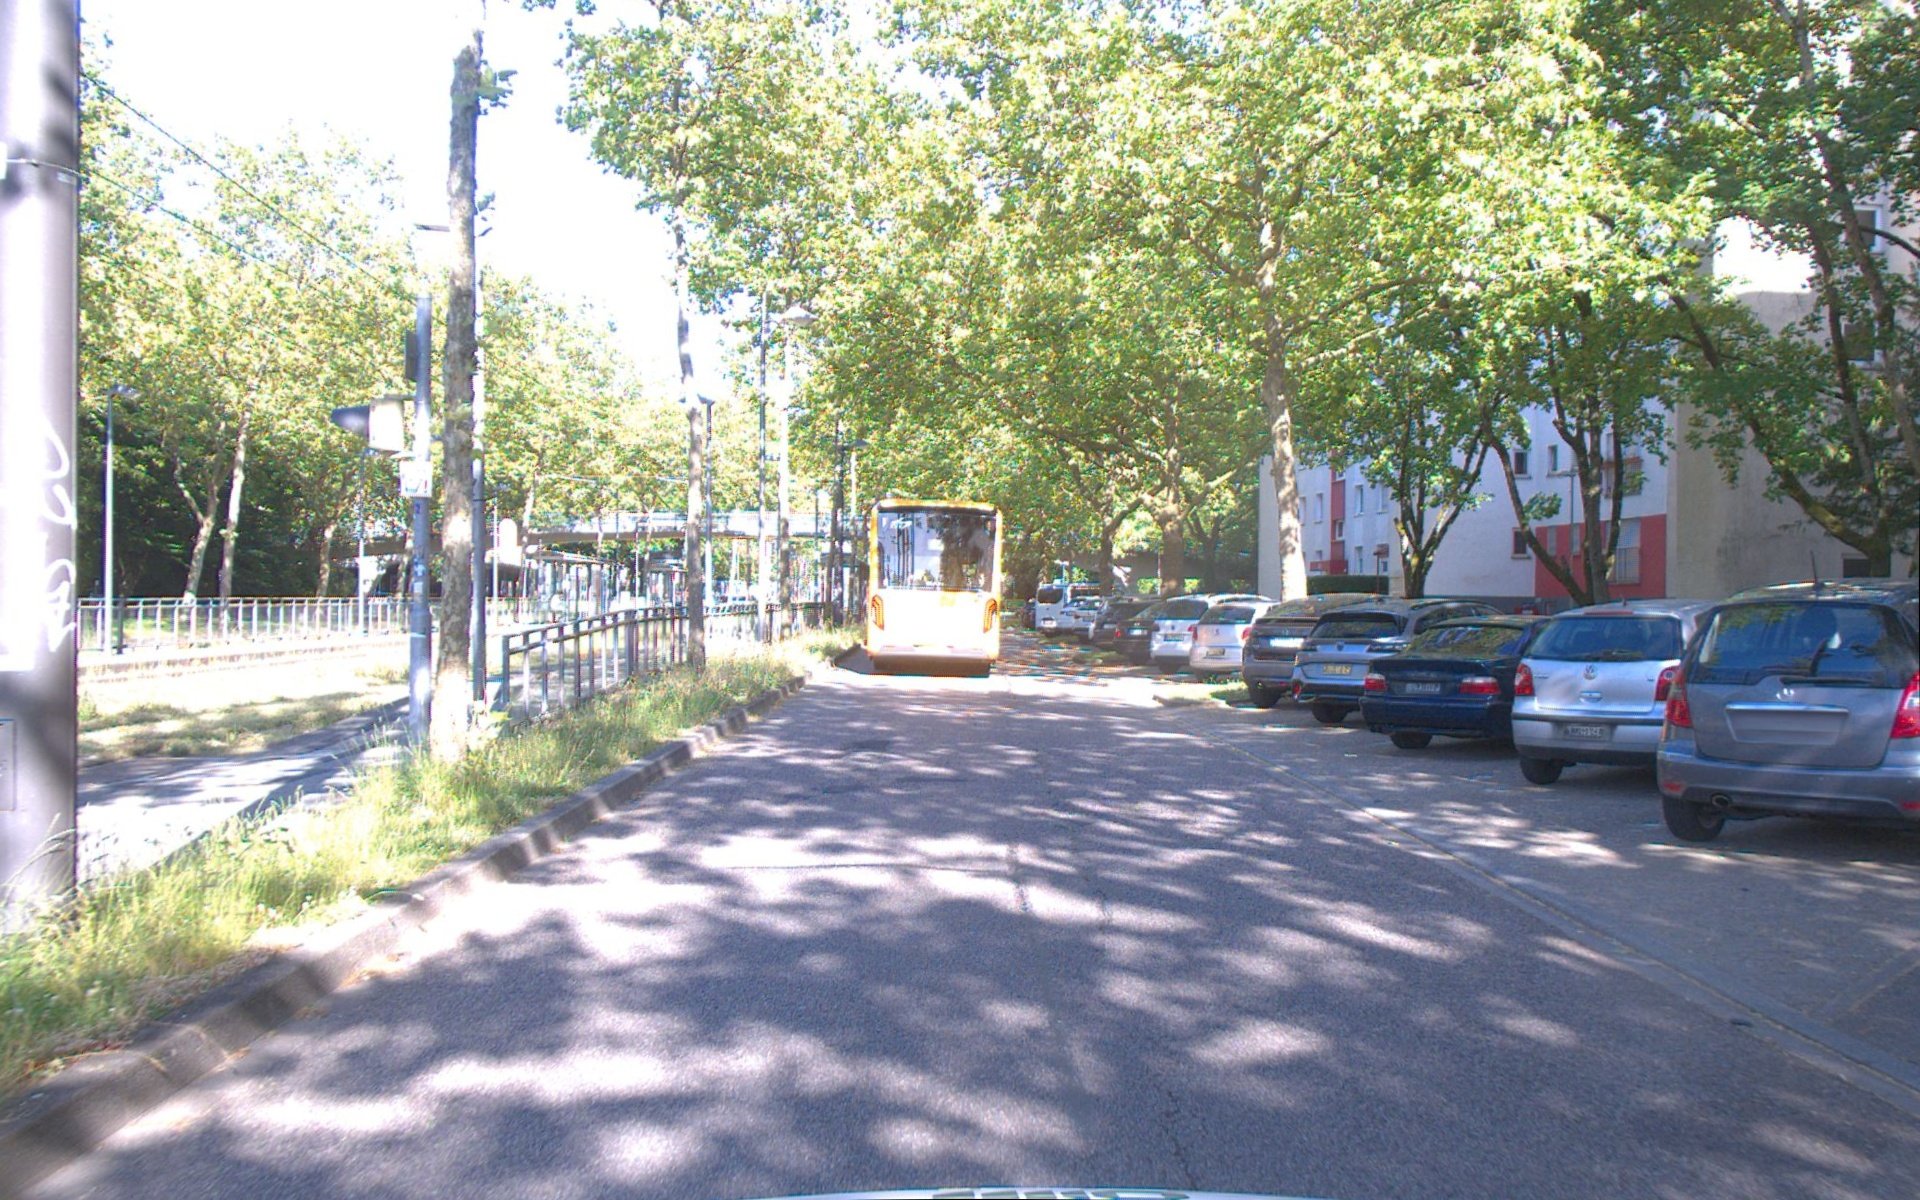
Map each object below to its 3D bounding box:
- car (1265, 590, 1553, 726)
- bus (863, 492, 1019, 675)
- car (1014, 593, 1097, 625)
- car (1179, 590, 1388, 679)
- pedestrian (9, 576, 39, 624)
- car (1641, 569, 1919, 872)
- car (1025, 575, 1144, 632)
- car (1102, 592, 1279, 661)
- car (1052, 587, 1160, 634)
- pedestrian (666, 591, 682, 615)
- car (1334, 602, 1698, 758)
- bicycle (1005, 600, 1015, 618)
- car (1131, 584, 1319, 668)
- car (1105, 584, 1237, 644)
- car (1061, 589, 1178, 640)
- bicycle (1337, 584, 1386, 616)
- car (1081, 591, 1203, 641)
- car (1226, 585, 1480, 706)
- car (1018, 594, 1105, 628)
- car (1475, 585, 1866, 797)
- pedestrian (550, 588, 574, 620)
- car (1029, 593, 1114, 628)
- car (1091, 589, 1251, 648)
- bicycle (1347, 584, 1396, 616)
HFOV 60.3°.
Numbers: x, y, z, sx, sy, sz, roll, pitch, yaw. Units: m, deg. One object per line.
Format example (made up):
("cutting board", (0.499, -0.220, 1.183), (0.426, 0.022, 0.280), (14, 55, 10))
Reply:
("car", (5.618, 0.642, 20.471), (1.770, 1.471, 3.860), (-1, 0, 45))
("bus", (-0.533, -0.306, 36.593), (2.841, 3.324, 12.213), (1, 0, -2))
("car", (4.861, 0.460, 83.914), (4.219, 1.487, 1.773), (-2, 0, -42))
("car", (5.986, 0.588, 30.378), (3.967, 1.469, 1.772), (-1, 0, -43))
("pedestrian", (-33.250, -0.005, 58.760), (0.635, 1.690, 0.650), (1, 0, 0))
("car", (6.073, 0.619, 10.579), (3.695, 1.620, 1.772), (-1, 0, -42))
("car", (4.893, 0.136, 64.536), (4.550, 2.088, 1.987), (-2, 0, -41))
("car", (5.435, 0.583, 38.586), (1.769, 1.447, 4.560), (-1, 0, 43))
("car", (5.458, 0.365, 61.535), (4.027, 1.608, 1.803), (-2, 0, -44))
("pedestrian", (-15.582, 0.152, 90.031), (0.762, 1.259, 0.721), (1, 0, -2))
("car", (5.809, 0.731, 17.058), (4.111, 1.341, 1.773), (-1, 0, -42))
("bicycle", (3.422, 0.611, 113.309), (0.578, 1.203, 1.800), (-2, 1, -2))
("car", (5.537, 0.500, 34.315), (3.965, 1.603, 1.773), (-1, 0, -42))
("car", (6.300, 0.402, 49.096), (3.969, 1.617, 1.771), (-2, 0, -44))
("car", (5.375, 0.474, 55.258), (1.767, 1.536, 4.188), (-2, 0, 41))
("bicycle", (15.725, -0.011, 64.838), (1.760, 1.149, 0.499), (-3, 0, -6))
("car", (5.774, 0.505, 52.212), (1.800, 1.444, 3.974), (-2, 0, 43))
("car", (5.672, 0.578, 23.584), (1.768, 1.536, 4.152), (-1, 0, 42))
("car", (4.952, 0.524, 80.749), (4.219, 1.487, 1.773), (-2, 0, -41))
("car", (6.081, 0.660, 14.001), (3.555, 1.518, 1.772), (-1, 0, -43))
("pedestrian", (-15.579, 0.152, 64.740), (0.750, 1.204, 0.763), (1, 0, 0))
("car", (5.259, 0.481, 77.755), (3.970, 1.493, 1.754), (-2, 0, -44))
("car", (5.803, 0.495, 45.323), (4.369, 1.453, 1.923), (-2, 0, -41))
("bicycle", (15.832, -0.013, 63.633), (1.760, 1.149, 0.499), (-3, 0, -6))
